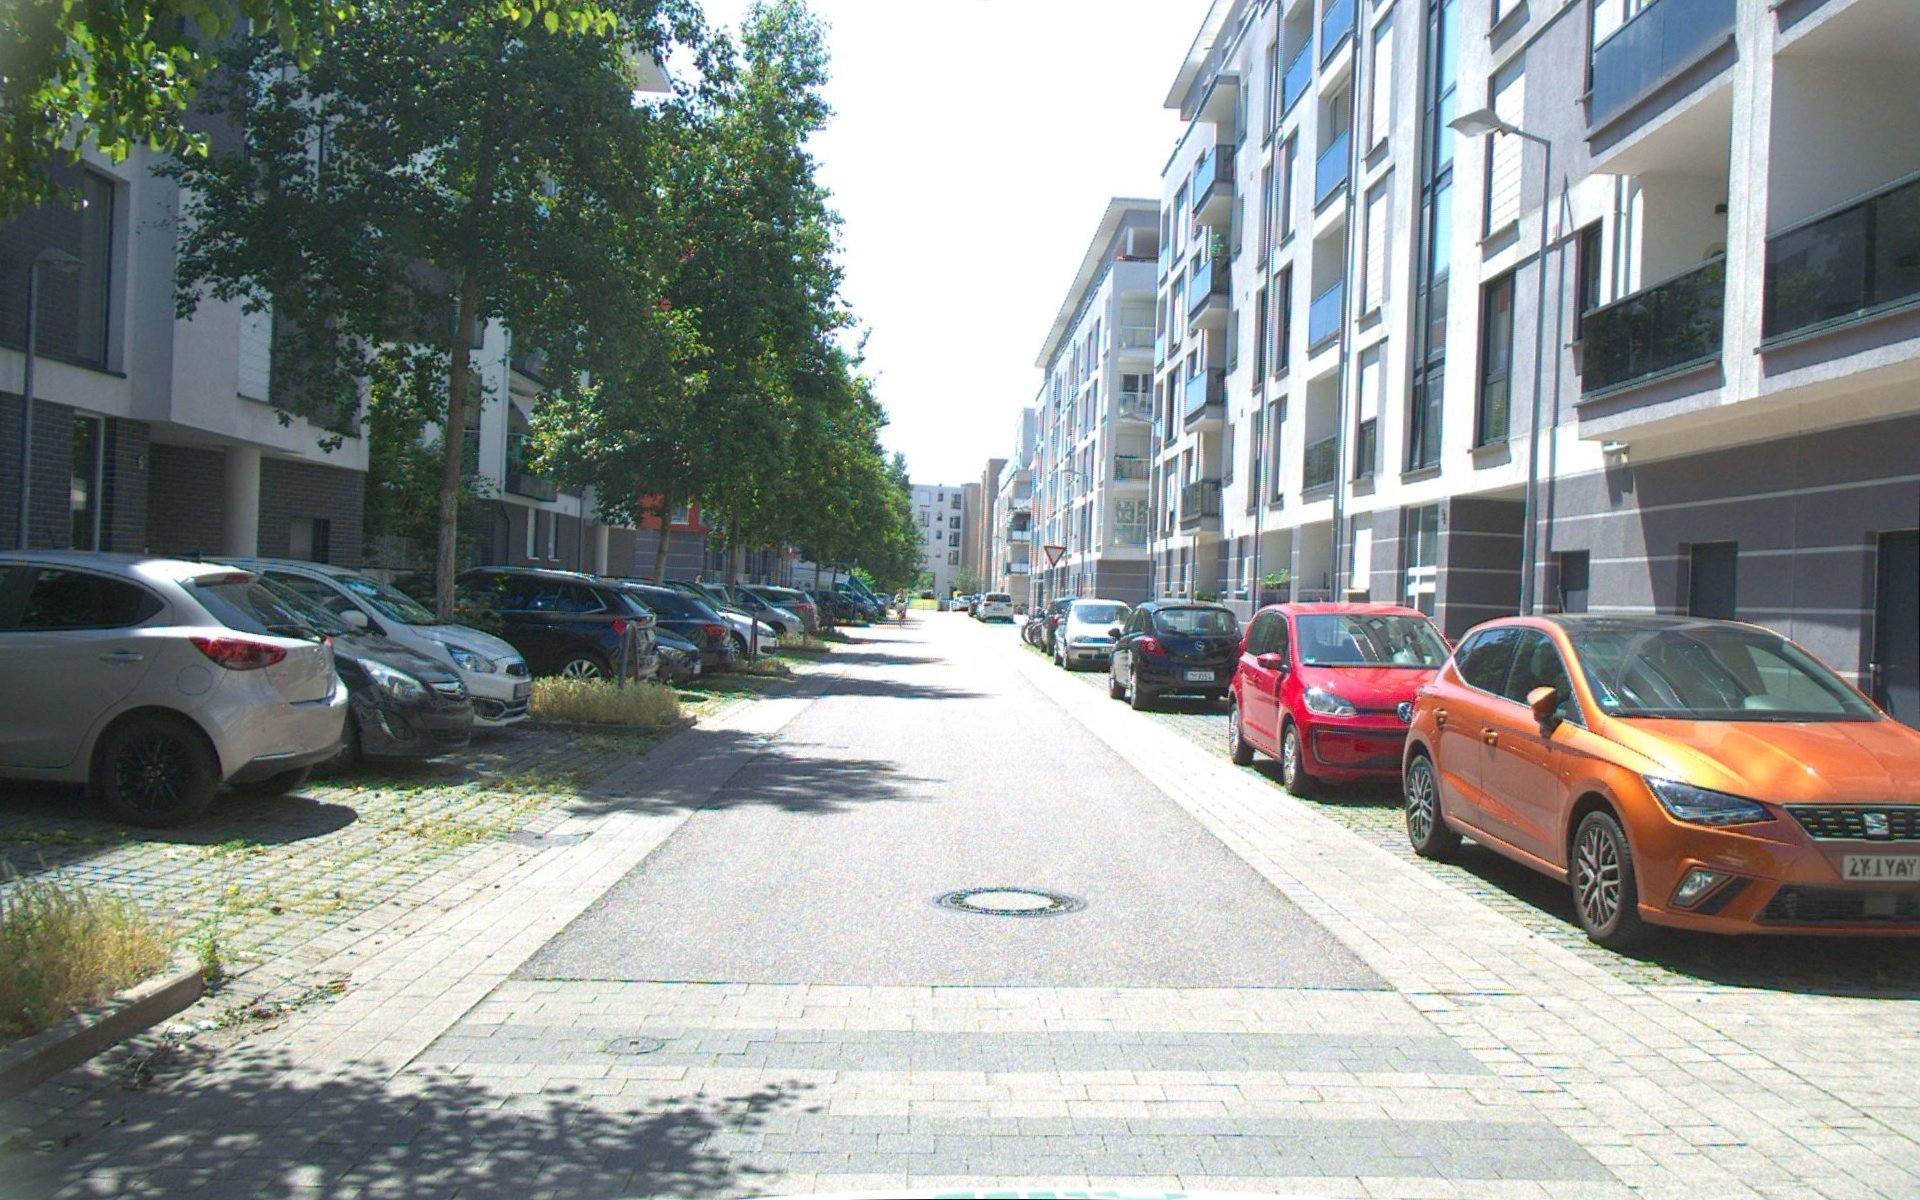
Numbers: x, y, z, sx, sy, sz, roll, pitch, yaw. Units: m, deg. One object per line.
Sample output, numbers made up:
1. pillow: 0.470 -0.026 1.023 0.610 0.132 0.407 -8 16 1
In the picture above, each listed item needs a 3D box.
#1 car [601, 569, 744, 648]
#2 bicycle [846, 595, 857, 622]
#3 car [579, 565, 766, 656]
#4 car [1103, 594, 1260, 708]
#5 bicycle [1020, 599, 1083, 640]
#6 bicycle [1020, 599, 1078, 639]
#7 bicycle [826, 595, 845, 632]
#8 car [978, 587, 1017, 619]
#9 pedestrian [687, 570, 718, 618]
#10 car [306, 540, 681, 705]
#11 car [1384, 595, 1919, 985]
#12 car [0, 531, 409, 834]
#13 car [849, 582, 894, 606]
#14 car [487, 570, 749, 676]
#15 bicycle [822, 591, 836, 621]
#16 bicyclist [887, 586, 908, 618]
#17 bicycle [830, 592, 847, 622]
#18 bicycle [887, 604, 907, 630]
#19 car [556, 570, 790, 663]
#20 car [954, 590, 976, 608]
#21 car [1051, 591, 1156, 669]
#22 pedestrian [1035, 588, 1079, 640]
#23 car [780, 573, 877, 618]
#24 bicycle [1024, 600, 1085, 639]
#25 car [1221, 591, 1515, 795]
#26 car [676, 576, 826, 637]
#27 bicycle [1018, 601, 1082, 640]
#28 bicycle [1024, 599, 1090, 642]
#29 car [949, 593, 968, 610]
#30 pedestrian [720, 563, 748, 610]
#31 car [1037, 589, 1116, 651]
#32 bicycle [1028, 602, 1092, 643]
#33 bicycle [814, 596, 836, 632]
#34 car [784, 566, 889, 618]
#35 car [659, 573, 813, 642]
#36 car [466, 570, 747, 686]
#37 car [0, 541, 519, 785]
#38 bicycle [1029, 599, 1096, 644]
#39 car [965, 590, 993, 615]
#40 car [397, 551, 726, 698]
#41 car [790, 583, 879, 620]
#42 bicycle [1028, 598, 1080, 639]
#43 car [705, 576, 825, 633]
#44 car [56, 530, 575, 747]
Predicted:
1. car: -6.496 0.188 37.586 2.874 1.526 1.847 4 0 -3
2. bicycle: -4.840 0.377 73.825 0.456 1.161 1.925 2 0 -3
3. car: -5.945 0.209 34.595 3.637 1.613 1.818 4 0 -7
4. car: 3.111 0.665 23.910 1.609 1.488 4.116 0 0 -2
5. bicycle: 2.815 0.599 50.952 1.882 1.200 0.639 1 0 8
6. bicycle: 2.810 0.589 52.344 1.821 1.214 0.687 1 0 2
7. bicycle: -4.151 0.432 55.136 0.364 1.201 1.815 1 0 -13
8. car: 2.031 0.141 91.076 1.956 1.686 4.114 1 0 -1
9. pedestrian: -9.358 -0.213 60.115 0.979 1.720 0.832 2 0 -1
10. car: -5.526 0.256 20.003 3.907 1.657 1.933 4 0 -1
11. car: 3.650 0.749 8.653 1.702 1.513 4.258 1 0 -1
12. car: -5.808 0.363 10.078 4.167 1.544 1.924 4 0 -2
13. car: -8.286 -0.560 155.110 3.903 2.049 2.001 2 0 5
14. car: -5.636 0.364 27.649 3.906 1.447 1.897 4 0 0
15. bicycle: -5.837 0.258 73.589 0.425 1.224 1.700 3 1 0
16. bicyclist: -2.965 0.078 78.188 0.934 1.485 0.799 2 0 -2
17. bicycle: -5.413 0.304 73.592 0.559 1.194 1.766 5 1 -8
18. bicycle: -2.961 0.793 78.276 0.880 1.149 2.039 2 0 -2
19. car: -5.509 0.307 32.190 4.274 1.740 1.999 0 0 -4
20. car: 0.475 -0.123 159.708 1.953 1.704 3.998 2 0 -2
21. car: 3.001 0.588 35.333 1.797 1.531 4.349 0 0 -1
22. pedestrian: 2.894 0.417 49.526 1.157 1.541 0.686 1 0 -11
23. car: -7.182 -0.244 90.860 5.041 2.156 2.311 3 0 -1
24. bicycle: 2.868 0.593 49.982 1.807 1.168 0.458 1 0 -21
25. car: 3.339 0.688 14.182 1.563 1.511 3.675 0 0 -1
26. car: -5.969 0.208 47.657 4.099 1.512 1.957 3 -1 -5
27. bicycle: 2.729 0.615 50.345 1.882 1.153 0.609 1 0 8
28. bicycle: 2.891 0.614 49.399 1.888 1.239 0.459 1 0 -10
29. car: -0.197 0.150 186.922 1.953 1.747 3.998 2 0 -2
30. pedestrian: -10.008 -0.587 73.280 0.988 2.049 1.129 1 0 2
31. car: 3.019 0.485 43.653 1.703 1.511 4.228 1 0 -1
32. bicycle: 2.900 0.649 48.043 1.751 1.123 0.746 1 0 -5
33. bicycle: -4.505 0.450 55.100 0.426 1.147 1.972 1 0 -13
34. car: -7.152 -0.477 96.292 5.902 2.865 2.604 1 0 -1
35. car: -6.006 0.189 44.760 3.858 1.580 1.872 3 0 -2
36. car: -5.270 0.411 25.080 3.897 1.470 1.774 4 0 -5
37. car: -5.735 0.414 12.526 4.230 1.501 1.792 4 0 -2
38. bicycle: 2.925 0.620 47.297 1.833 1.239 0.715 1 0 -5
39. car: 1.301 0.132 111.171 1.721 1.579 4.001 3 0 2
40. car: -5.333 0.316 22.533 3.905 1.679 1.918 3 0 0
41. car: -6.305 0.070 83.694 4.295 1.541 2.075 4 0 -1
42. bicycle: 2.931 0.585 51.636 1.519 1.239 0.707 1 0 -3
43. car: -6.158 0.141 52.571 3.557 1.547 1.831 3 0 -1
44. car: -5.726 0.325 15.088 3.906 1.619 1.883 4 0 -1
